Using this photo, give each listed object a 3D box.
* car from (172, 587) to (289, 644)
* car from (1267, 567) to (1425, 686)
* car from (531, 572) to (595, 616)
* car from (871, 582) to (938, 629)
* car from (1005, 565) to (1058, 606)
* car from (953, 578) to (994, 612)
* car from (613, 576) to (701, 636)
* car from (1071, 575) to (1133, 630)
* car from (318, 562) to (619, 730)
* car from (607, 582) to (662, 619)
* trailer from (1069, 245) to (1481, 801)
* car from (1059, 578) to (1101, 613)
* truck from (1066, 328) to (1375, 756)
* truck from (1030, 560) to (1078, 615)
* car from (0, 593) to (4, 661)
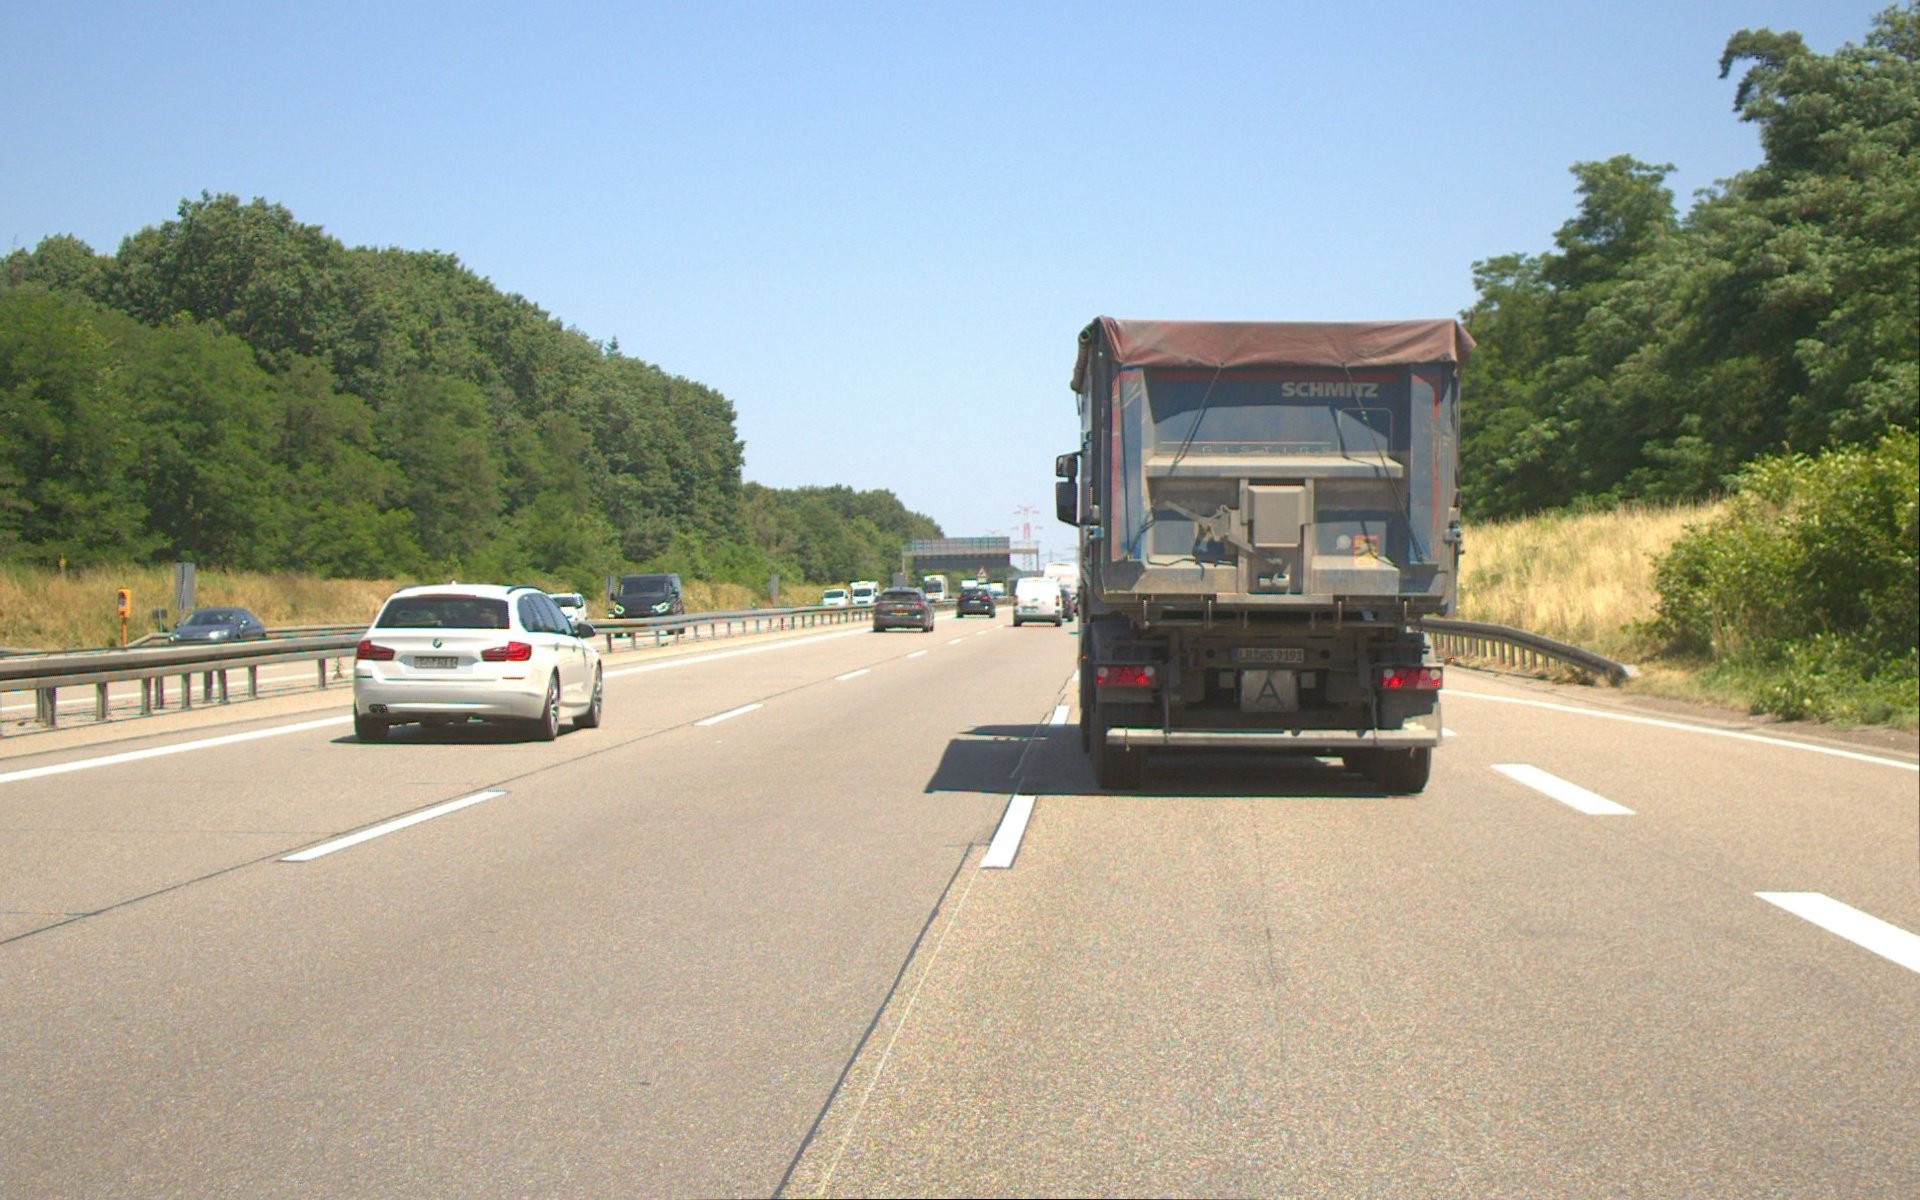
[{"bbox_3d":[-19.971,0.409,94.271,1.927,1.458,4.942,-1,0,3],"label":"car"},{"bbox_3d":[5.177,0.325,46.483,1.719,1.486,3.737,1,1,1],"label":"car"},{"bbox_3d":[-17.309,-0.280,150.036,1.994,1.821,4.642,-2,0,3],"label":"car"},{"bbox_3d":[-1.763,0.162,110.854,1.832,1.427,4.999,1,1,3],"label":"car"},{"bbox_3d":[2.707,-0.550,129.299,1.894,1.464,4.261,1,1,2],"label":"car"},{"bbox_3d":[0.667,-0.272,166.845,1.876,1.575,3.928,0,1,2],"label":"car"},{"bbox_3d":[-10.202,0.185,115.974,2.280,1.934,4.942,-1,0,3],"label":"car"},{"bbox_3d":[4.499,0.065,109.614,1.832,1.666,4.000,1,0,1],"label":"car"},{"bbox_3d":[-4.717,0.405,33.808,1.964,1.498,5.404,0,0,3],"label":"car"},{"bbox_3d":[-16.015,0.006,169.413,1.994,1.698,4.979,-2,0,3],"label":"car"},{"bbox_3d":[2.271,-0.590,27.769,2.737,3.746,9.109,0,1,2],"label":"trailer"},{"bbox_3d":[5.171,-0.187,148.347,1.735,1.486,3.736,1,0,3],"label":"car"},{"bbox_3d":[2.374,-0.556,33.088,2.684,3.746,5.944,0,1,2],"label":"truck"},{"bbox_3d":[4.973,-0.660,182.812,2.428,2.874,6.205,1,0,1],"label":"truck"},{"bbox_3d":[-21.815,0.618,71.820,2.086,1.458,4.942,-1,0,3],"label":"car"}]
